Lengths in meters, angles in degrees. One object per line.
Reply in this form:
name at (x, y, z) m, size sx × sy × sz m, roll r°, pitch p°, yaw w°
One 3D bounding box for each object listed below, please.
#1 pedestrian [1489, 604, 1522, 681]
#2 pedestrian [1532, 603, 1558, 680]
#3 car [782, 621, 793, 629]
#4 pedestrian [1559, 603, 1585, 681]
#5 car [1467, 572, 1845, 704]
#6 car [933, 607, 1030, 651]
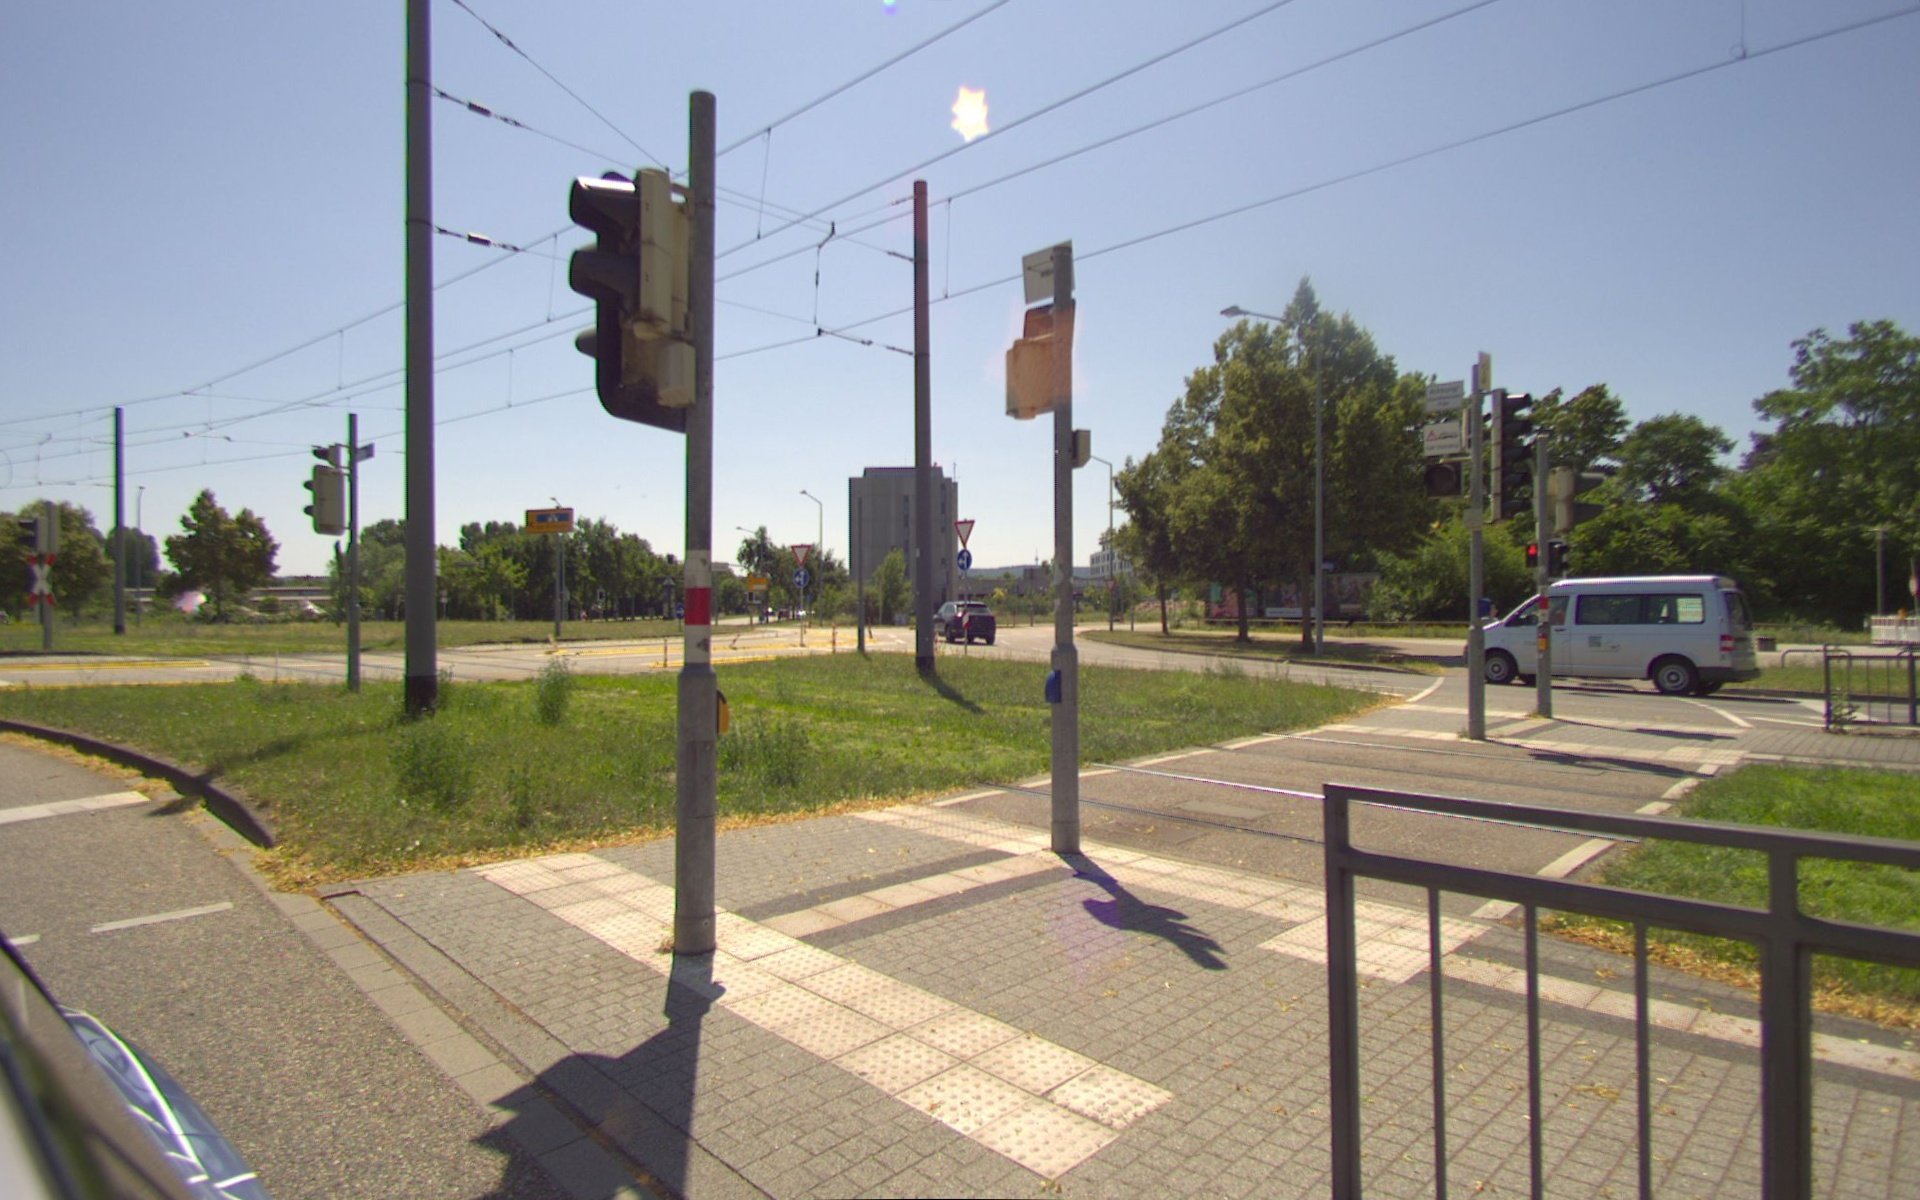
pedestrian at (12.583, 0.960, 23.337) m, size 0.600 × 1.752 × 0.336 m, roll -1°, pitch -1°, yaw 45°
pedestrian at (13.505, 0.944, 23.365) m, size 0.449 × 1.752 × 0.287 m, roll -1°, pitch -1°, yaw 45°
car at (-27.103, 3.959, 159.351) m, size 1.475 × 1.098 × 3.525 m, roll 0°, pitch 0°, yaw -6°
pedestrian at (13.924, 0.949, 23.038) m, size 0.449 × 1.752 × 0.287 m, roll -1°, pitch -1°, yaw 45°
car at (12.843, 0.665, 19.094) m, size 1.968 × 2.122 × 5.552 m, roll 2°, pitch -2°, yaw -39°
car at (0.682, 1.038, 38.252) m, size 1.966 × 1.529 × 5.854 m, roll 0°, pitch -1°, yaw -17°
